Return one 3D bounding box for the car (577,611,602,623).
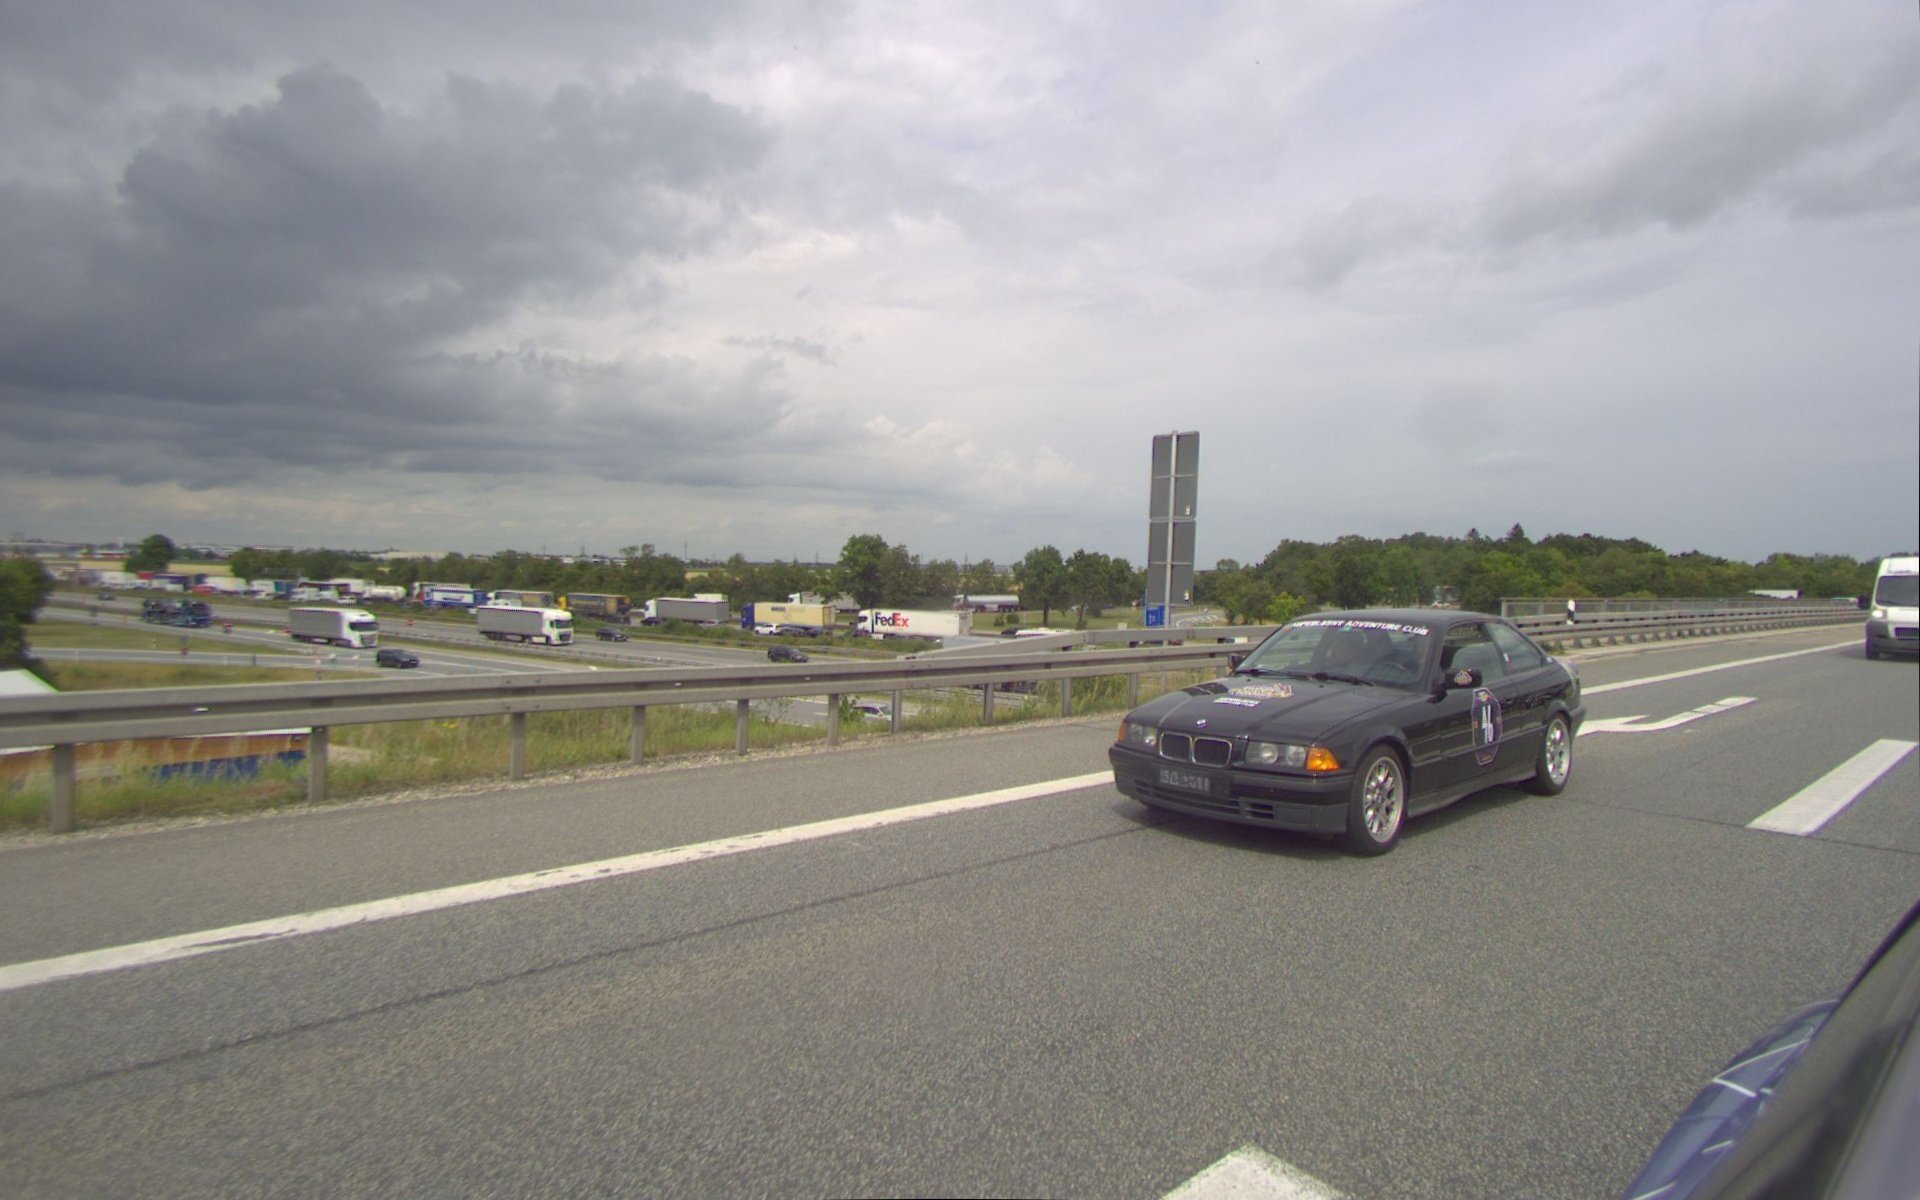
[{"bbox_3d":[-56.630,2.611,154.693,3.975,1.575,1.652,2,1,35],"label":"car"}]

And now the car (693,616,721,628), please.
[{"bbox_3d":[-35.798,3.059,143.380,3.976,1.504,1.715,1,1,37],"label":"car"}]

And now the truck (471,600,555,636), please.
[{"bbox_3d":[-53.465,2.046,120.876,13.047,3.725,2.467,2,1,34],"label":"truck"}]

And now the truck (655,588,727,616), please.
[{"bbox_3d":[-51.517,0.345,193.730,12.778,5.104,3.944,1,0,7],"label":"truck"}]

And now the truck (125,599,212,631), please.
[{"bbox_3d":[-113.032,2.014,144.408,18.907,4.111,3.948,1,1,33],"label":"truck"}]

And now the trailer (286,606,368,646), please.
[{"bbox_3d":[-74.285,2.948,118.619,14.158,4.151,2.952,1,0,35],"label":"trailer"}]

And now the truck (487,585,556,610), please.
[{"bbox_3d":[-77.231,-0.484,178.032,14.799,4.082,4.090,1,0,36],"label":"truck"}]

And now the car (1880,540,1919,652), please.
[{"bbox_3d":[23.748,-0.063,24.057,6.044,2.485,2.117,1,0,-41],"label":"car"}]

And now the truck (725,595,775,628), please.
[{"bbox_3d":[-30.517,1.641,146.907,6.253,4.568,3.883,1,0,35],"label":"truck"}]

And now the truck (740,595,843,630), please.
[{"bbox_3d":[-23.831,1.659,142.079,16.263,4.612,3.957,1,0,36],"label":"truck"}]

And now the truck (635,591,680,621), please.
[{"bbox_3d":[-47.219,0.946,157.953,6.255,4.568,3.882,1,0,36],"label":"truck"}]

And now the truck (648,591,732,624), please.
[{"bbox_3d":[-41.010,1.060,153.539,14.796,4.612,3.956,1,0,37],"label":"truck"}]

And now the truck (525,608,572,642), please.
[{"bbox_3d":[-47.574,2.858,116.984,5.130,3.725,2.468,2,1,33],"label":"truck"}]

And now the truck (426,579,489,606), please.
[{"bbox_3d":[-94.223,-1.487,189.661,14.384,4.882,4.037,1,0,34],"label":"truck"}]

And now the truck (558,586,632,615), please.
[{"bbox_3d":[-60.310,0.041,166.920,15.219,4.612,3.954,1,0,37],"label":"truck"}]

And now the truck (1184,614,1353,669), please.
[{"bbox_3d":[31.082,4.083,102.817,16.079,4.758,3.942,1,1,37],"label":"truck"}]

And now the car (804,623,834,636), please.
[{"bbox_3d":[-18.538,3.826,132.993,3.976,1.504,1.715,1,1,36],"label":"car"}]

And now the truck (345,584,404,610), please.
[{"bbox_3d":[-118.384,-0.657,204.492,15.249,4.882,4.036,1,0,34],"label":"truck"}]

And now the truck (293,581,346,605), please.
[{"bbox_3d":[-137.780,-1.573,217.602,15.249,4.882,4.036,1,0,34],"label":"truck"}]

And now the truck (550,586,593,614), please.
[{"bbox_3d":[-65.729,-0.026,171.141,6.462,4.555,4.018,0,0,37],"label":"truck"}]

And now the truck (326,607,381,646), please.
[{"bbox_3d":[-68.699,2.985,114.650,6.487,4.151,2.952,1,0,35],"label":"truck"}]

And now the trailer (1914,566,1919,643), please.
[{"bbox_3d":[27.644,0.138,27.659,4.551,2.039,1.858,1,0,-41],"label":"trailer"}]

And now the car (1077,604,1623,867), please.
[{"bbox_3d":[2.937,0.696,7.121,4.287,1.297,1.708,1,0,-39],"label":"car"}]

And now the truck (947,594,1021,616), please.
[{"bbox_3d":[4.778,1.004,198.149,14.423,4.141,3.092,1,0,-21],"label":"truck"}]

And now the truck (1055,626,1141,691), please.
[{"bbox_3d":[10.273,4.274,75.563,5.580,4.340,3.092,1,1,36],"label":"truck"}]

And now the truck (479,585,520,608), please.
[{"bbox_3d":[-82.873,-0.576,182.057,6.457,4.063,4.080,0,0,36],"label":"truck"}]

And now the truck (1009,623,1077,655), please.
[{"bbox_3d":[9.194,4.235,112.325,7.520,3.237,2.203,1,0,36],"label":"truck"}]

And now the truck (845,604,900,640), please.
[{"bbox_3d":[-11.451,2.829,132.671,6.254,4.568,3.882,1,0,36],"label":"truck"}]

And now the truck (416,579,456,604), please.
[{"bbox_3d":[-100.211,-1.633,193.551,6.451,4.797,4.025,1,0,33],"label":"truck"}]

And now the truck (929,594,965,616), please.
[{"bbox_3d":[-2.498,0.930,195.483,6.307,4.239,3.169,0,0,-20],"label":"truck"}]

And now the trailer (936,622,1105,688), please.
[{"bbox_3d":[4.530,4.139,79.746,13.868,4.340,3.091,1,1,36],"label":"trailer"}]

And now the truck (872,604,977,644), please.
[{"bbox_3d":[-4.653,2.937,127.842,13.702,4.612,3.958,1,0,35],"label":"truck"}]

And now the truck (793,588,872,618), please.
[{"bbox_3d":[-24.102,0.551,191.311,14.555,5.281,3.866,1,0,-7],"label":"truck"}]

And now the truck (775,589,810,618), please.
[{"bbox_3d":[-31.546,0.668,190.485,6.314,5.380,3.863,0,0,-5],"label":"truck"}]
